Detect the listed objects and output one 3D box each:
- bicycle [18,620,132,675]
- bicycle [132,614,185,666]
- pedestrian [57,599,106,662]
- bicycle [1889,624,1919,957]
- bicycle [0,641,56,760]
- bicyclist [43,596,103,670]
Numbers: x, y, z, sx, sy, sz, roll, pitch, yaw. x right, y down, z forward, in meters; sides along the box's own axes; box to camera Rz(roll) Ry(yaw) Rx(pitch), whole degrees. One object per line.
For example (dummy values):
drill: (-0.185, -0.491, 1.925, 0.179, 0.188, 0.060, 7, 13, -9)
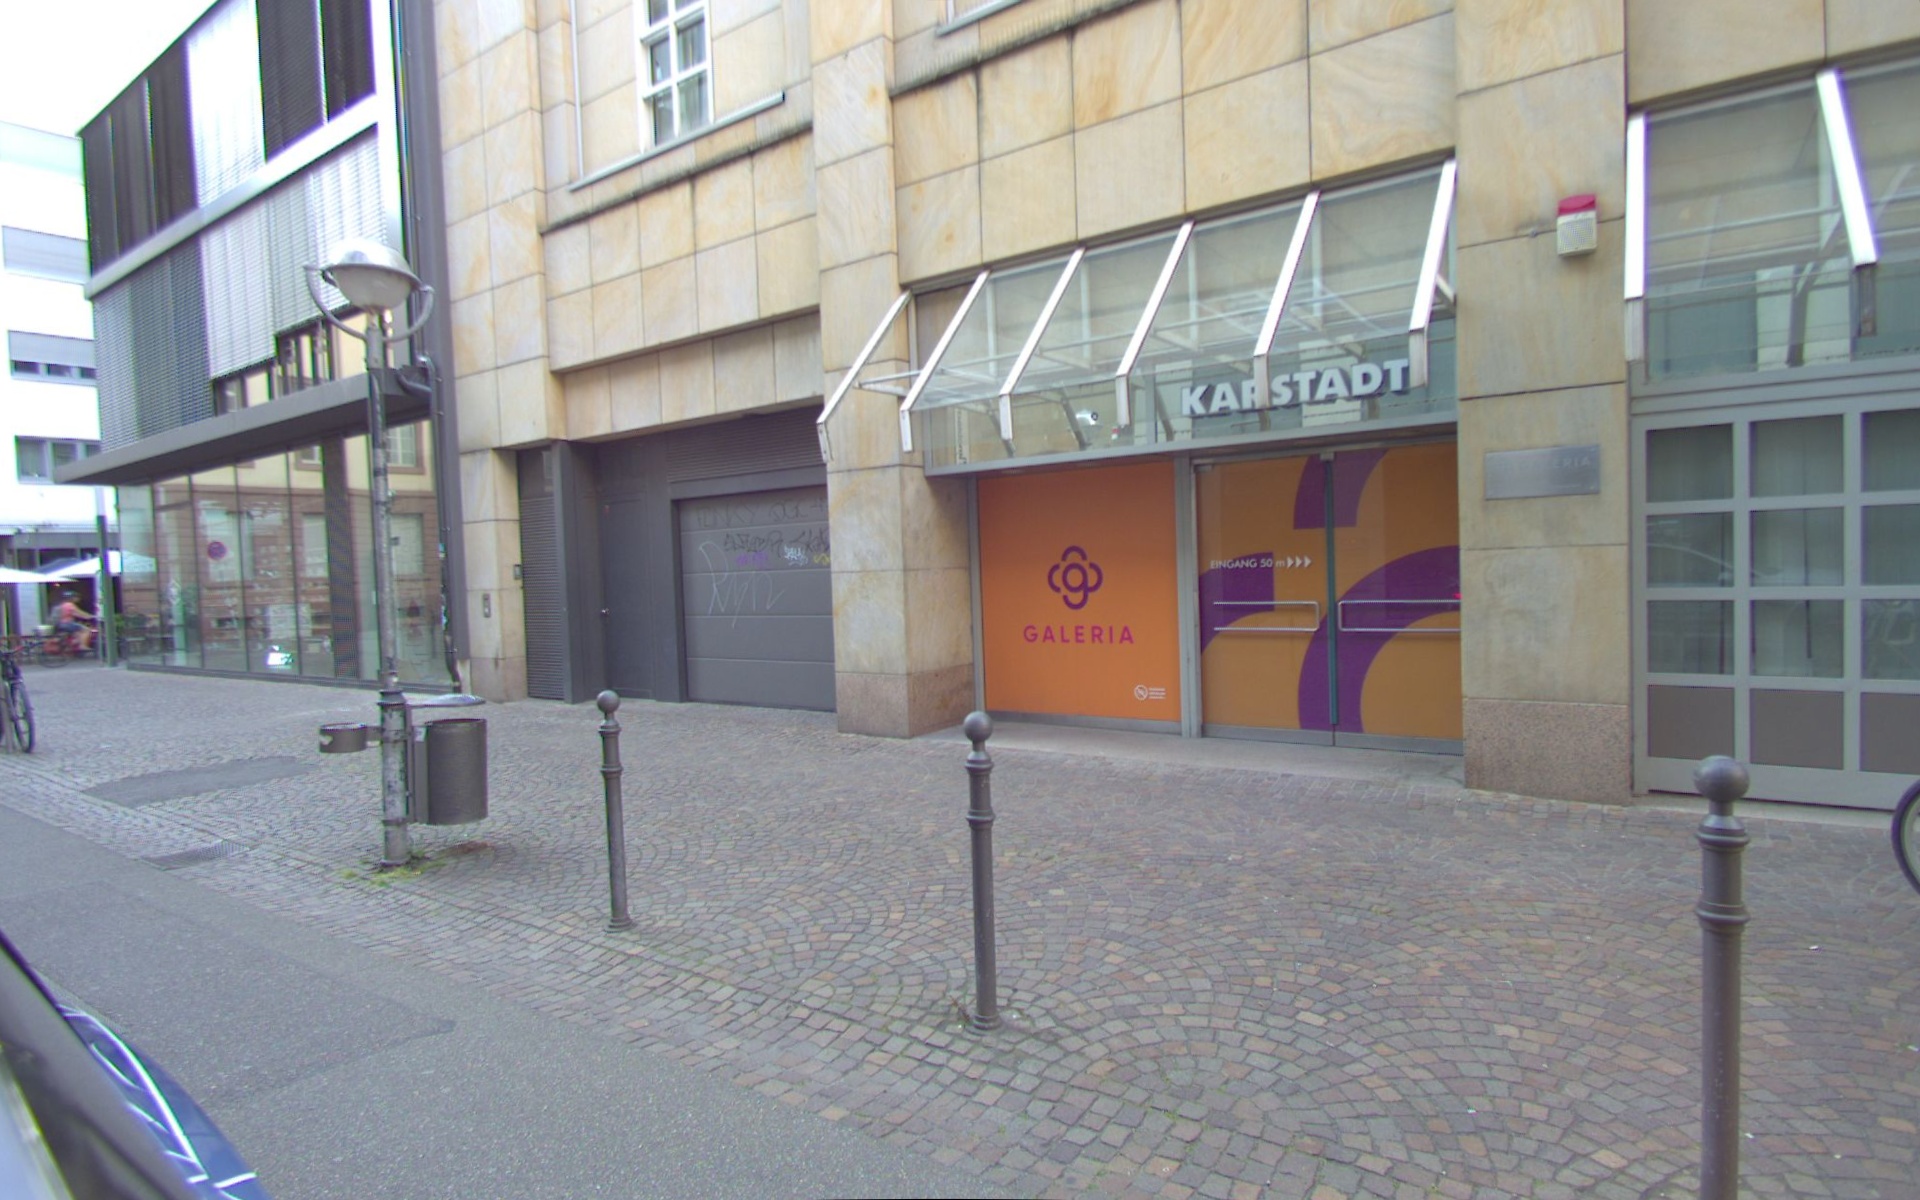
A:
bicycle: (-21.612, 1.134, 24.750, 0.577, 1.157, 1.958, -1, 3, 36)
bicycle: (-18.894, 0.956, 23.836, 1.699, 1.144, 0.461, -4, 0, 35)
pedestrian: (-23.873, 0.827, 27.503, 0.789, 1.661, 0.718, -2, 1, 30)
bicycle: (4.110, 0.662, 3.100, 0.685, 1.120, 1.779, -3, 1, -40)
bicycle: (-10.195, 1.024, 10.681, 1.924, 1.141, 0.407, -1, 2, 32)
bicyclist: (-21.651, 0.787, 24.710, 0.629, 1.716, 0.890, -1, 3, 36)
